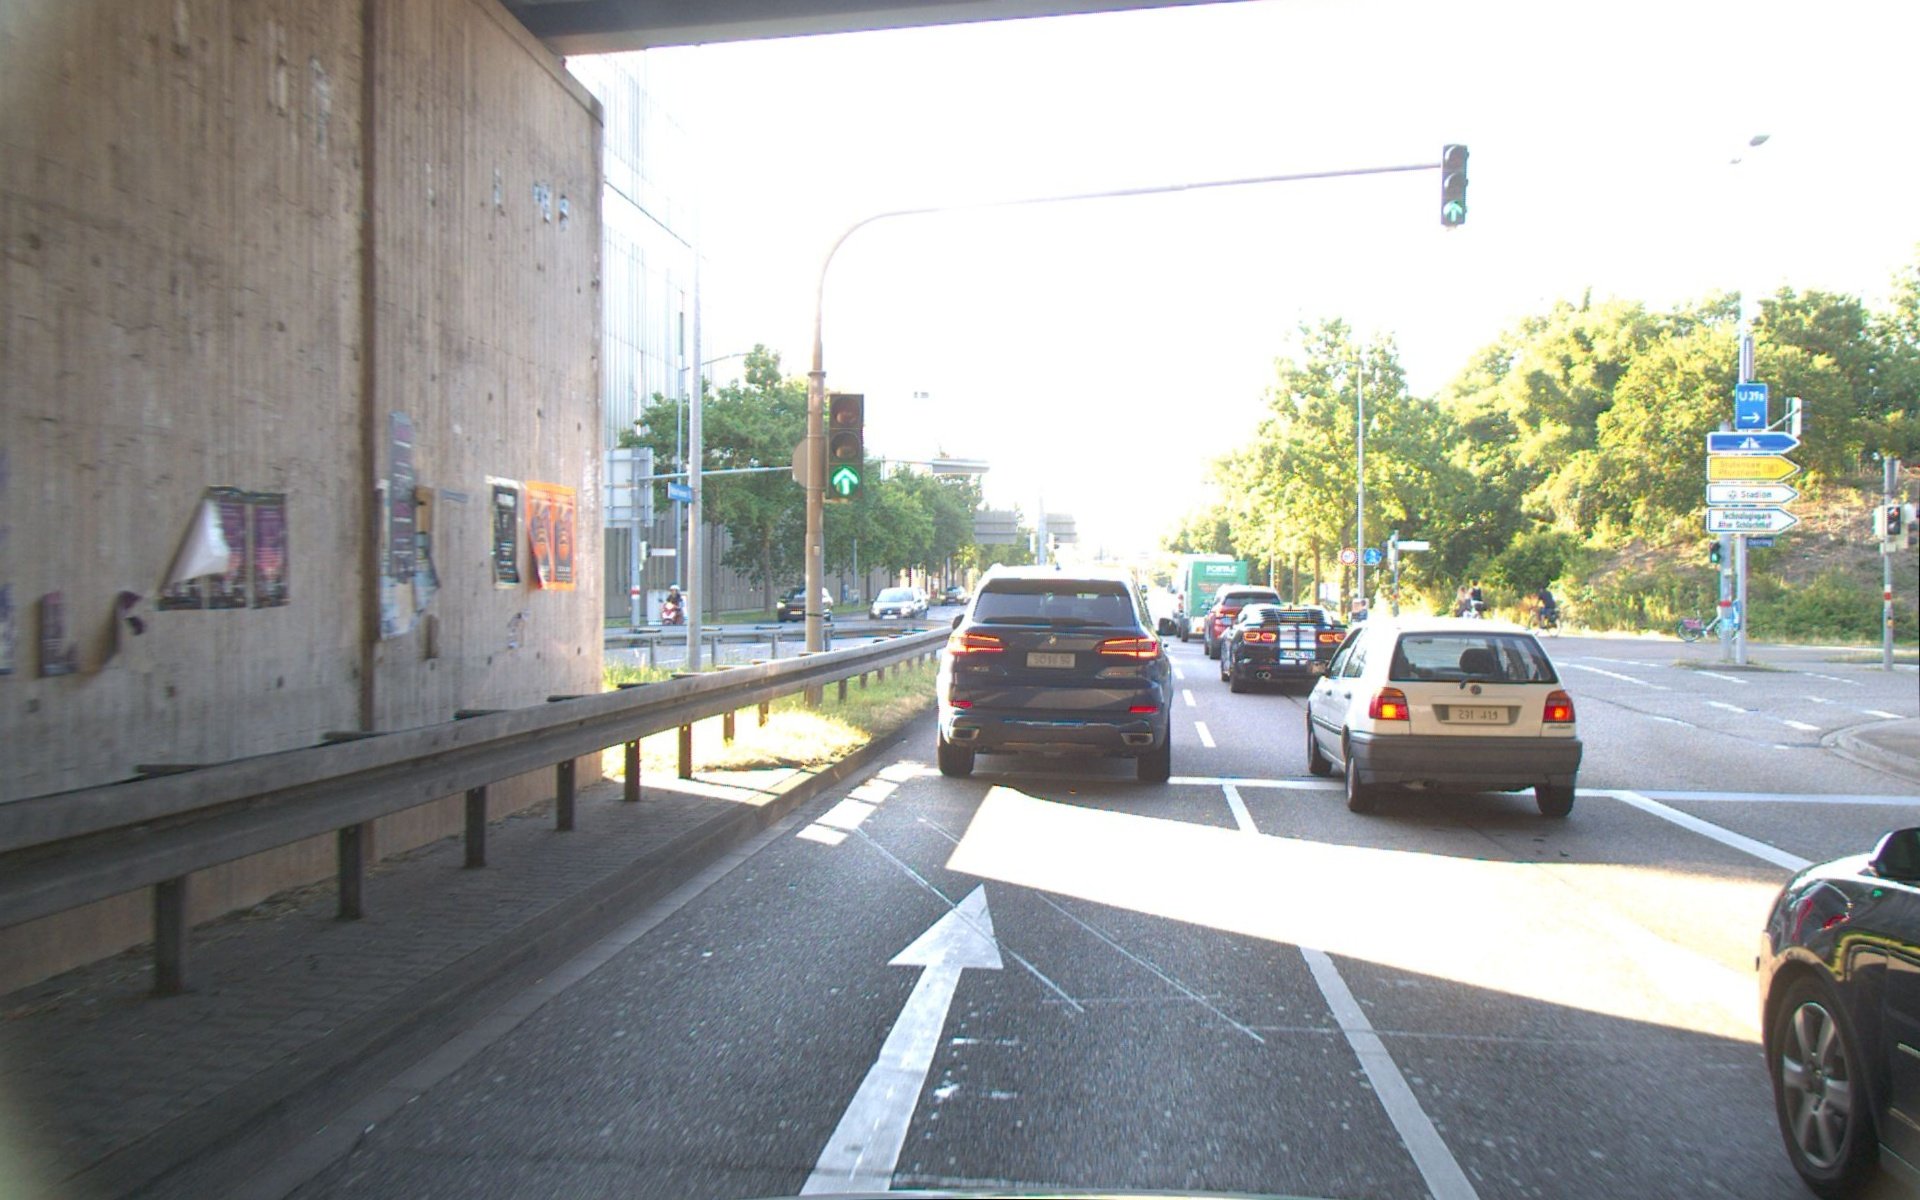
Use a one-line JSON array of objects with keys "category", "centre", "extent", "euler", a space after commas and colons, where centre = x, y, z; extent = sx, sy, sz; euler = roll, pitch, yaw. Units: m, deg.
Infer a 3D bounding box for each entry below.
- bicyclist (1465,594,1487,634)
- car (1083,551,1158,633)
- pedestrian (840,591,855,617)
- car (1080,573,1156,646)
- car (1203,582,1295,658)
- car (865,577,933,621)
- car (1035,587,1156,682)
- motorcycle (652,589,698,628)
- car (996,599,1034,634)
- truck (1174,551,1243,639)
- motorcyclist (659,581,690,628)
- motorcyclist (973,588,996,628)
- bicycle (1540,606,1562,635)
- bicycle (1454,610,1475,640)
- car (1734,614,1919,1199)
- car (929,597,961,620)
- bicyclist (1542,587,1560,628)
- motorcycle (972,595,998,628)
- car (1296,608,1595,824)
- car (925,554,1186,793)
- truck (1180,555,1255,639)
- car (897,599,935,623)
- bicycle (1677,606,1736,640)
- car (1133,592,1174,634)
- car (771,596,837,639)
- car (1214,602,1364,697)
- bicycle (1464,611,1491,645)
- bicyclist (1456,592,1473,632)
[{"category": "bicyclist", "centre": [17.658, 0.480, 56.559], "extent": [0.532, 1.339, 0.836], "euler": [2, -1, 6]}, {"category": "car", "centre": [5.422, -0.233, 56.486], "extent": [2.092, 2.621, 5.087], "euler": [2, 0, 1]}, {"category": "pedestrian", "centre": [-9.028, 0.346, 132.679], "extent": [0.997, 2.049, 0.962], "euler": [2, -1, 6]}, {"category": "car", "centre": [3.992, 0.247, 41.458], "extent": [1.582, 1.709, 3.686], "euler": [2, -1, 10]}, {"category": "car", "centre": [6.518, 0.446, 37.614], "extent": [1.758, 1.586, 4.002], "euler": [2, 0, 6]}, {"category": "car", "centre": [-2.206, -0.004, 60.827], "extent": [1.951, 1.501, 4.083], "euler": [2, 0, 5]}, {"category": "car", "centre": [2.335, 0.564, 27.786], "extent": [1.582, 1.434, 3.686], "euler": [2, 0, 11]}, {"category": "motorcycle", "centre": [-8.928, 0.271, 51.867], "extent": [0.666, 1.176, 2.240], "euler": [2, -1, 9]}, {"category": "car", "centre": [2.586, 0.773, 77.528], "extent": [1.666, 1.477, 3.859], "euler": [-3, -1, 2]}, {"category": "truck", "centre": [8.077, -0.130, 54.032], "extent": [1.954, 2.715, 4.002], "euler": [2, -1, 6]}, {"category": "motorcyclist", "centre": [-8.930, 0.148, 51.823], "extent": [0.667, 1.449, 0.868], "euler": [2, -1, 9]}, {"category": "motorcyclist", "centre": [0.868, 0.269, 59.020], "extent": [0.781, 1.373, 1.274], "euler": [-1, 1, -1]}, {"category": "bicycle", "centre": [19.381, 0.662, 54.211], "extent": [0.428, 0.930, 1.027], "euler": [2, -1, 6]}, {"category": "bicycle", "centre": [15.926, 0.785, 52.171], "extent": [0.428, 0.930, 1.027], "euler": [-1, -1, 6]}, {"category": "car", "centre": [2.943, 0.767, 3.107], "extent": [1.582, 1.434, 3.685], "euler": [2, 0, 7]}, {"category": "car", "centre": [-1.149, 0.669, 127.831], "extent": [1.952, 1.619, 4.717], "euler": [-3, -1, 5]}, {"category": "bicyclist", "centre": [19.398, 0.233, 54.301], "extent": [0.418, 1.331, 0.460], "euler": [2, -1, 6]}, {"category": "motorcycle", "centre": [0.870, 0.393, 58.970], "extent": [0.823, 1.094, 2.401], "euler": [-2, 1, -1]}, {"category": "car", "centre": [3.773, 0.821, 13.490], "extent": [1.545, 1.438, 4.064], "euler": [2, 0, 5]}, {"category": "car", "centre": [0.965, 0.580, 14.956], "extent": [1.951, 1.764, 4.535], "euler": [2, 0, 6]}, {"category": "truck", "centre": [7.636, -0.059, 49.296], "extent": [1.954, 2.356, 4.002], "euler": [2, -1, 6]}, {"category": "car", "centre": [-2.847, 0.726, 107.343], "extent": [1.952, 1.425, 4.351], "euler": [-3, -1, 5]}, {"category": "bicycle", "centre": [22.987, 0.694, 50.932], "extent": [1.628, 1.008, 0.578], "euler": [0, 2, 23]}, {"category": "car", "centre": [8.232, 0.558, 70.611], "extent": [1.582, 1.709, 3.685], "euler": [2, 0, 5]}, {"category": "car", "centre": [-6.707, 0.759, 71.391], "extent": [1.951, 1.726, 4.683], "euler": [-3, -1, 5]}, {"category": "car", "centre": [5.115, 0.740, 26.189], "extent": [1.951, 1.317, 4.002], "euler": [2, 0, 6]}, {"category": "bicycle", "centre": [17.655, 0.946, 56.480], "extent": [0.552, 1.132, 1.623], "euler": [2, -1, 6]}, {"category": "bicyclist", "centre": [15.942, 0.376, 52.293], "extent": [0.418, 1.254, 0.460], "euler": [0, -1, 6]}]
